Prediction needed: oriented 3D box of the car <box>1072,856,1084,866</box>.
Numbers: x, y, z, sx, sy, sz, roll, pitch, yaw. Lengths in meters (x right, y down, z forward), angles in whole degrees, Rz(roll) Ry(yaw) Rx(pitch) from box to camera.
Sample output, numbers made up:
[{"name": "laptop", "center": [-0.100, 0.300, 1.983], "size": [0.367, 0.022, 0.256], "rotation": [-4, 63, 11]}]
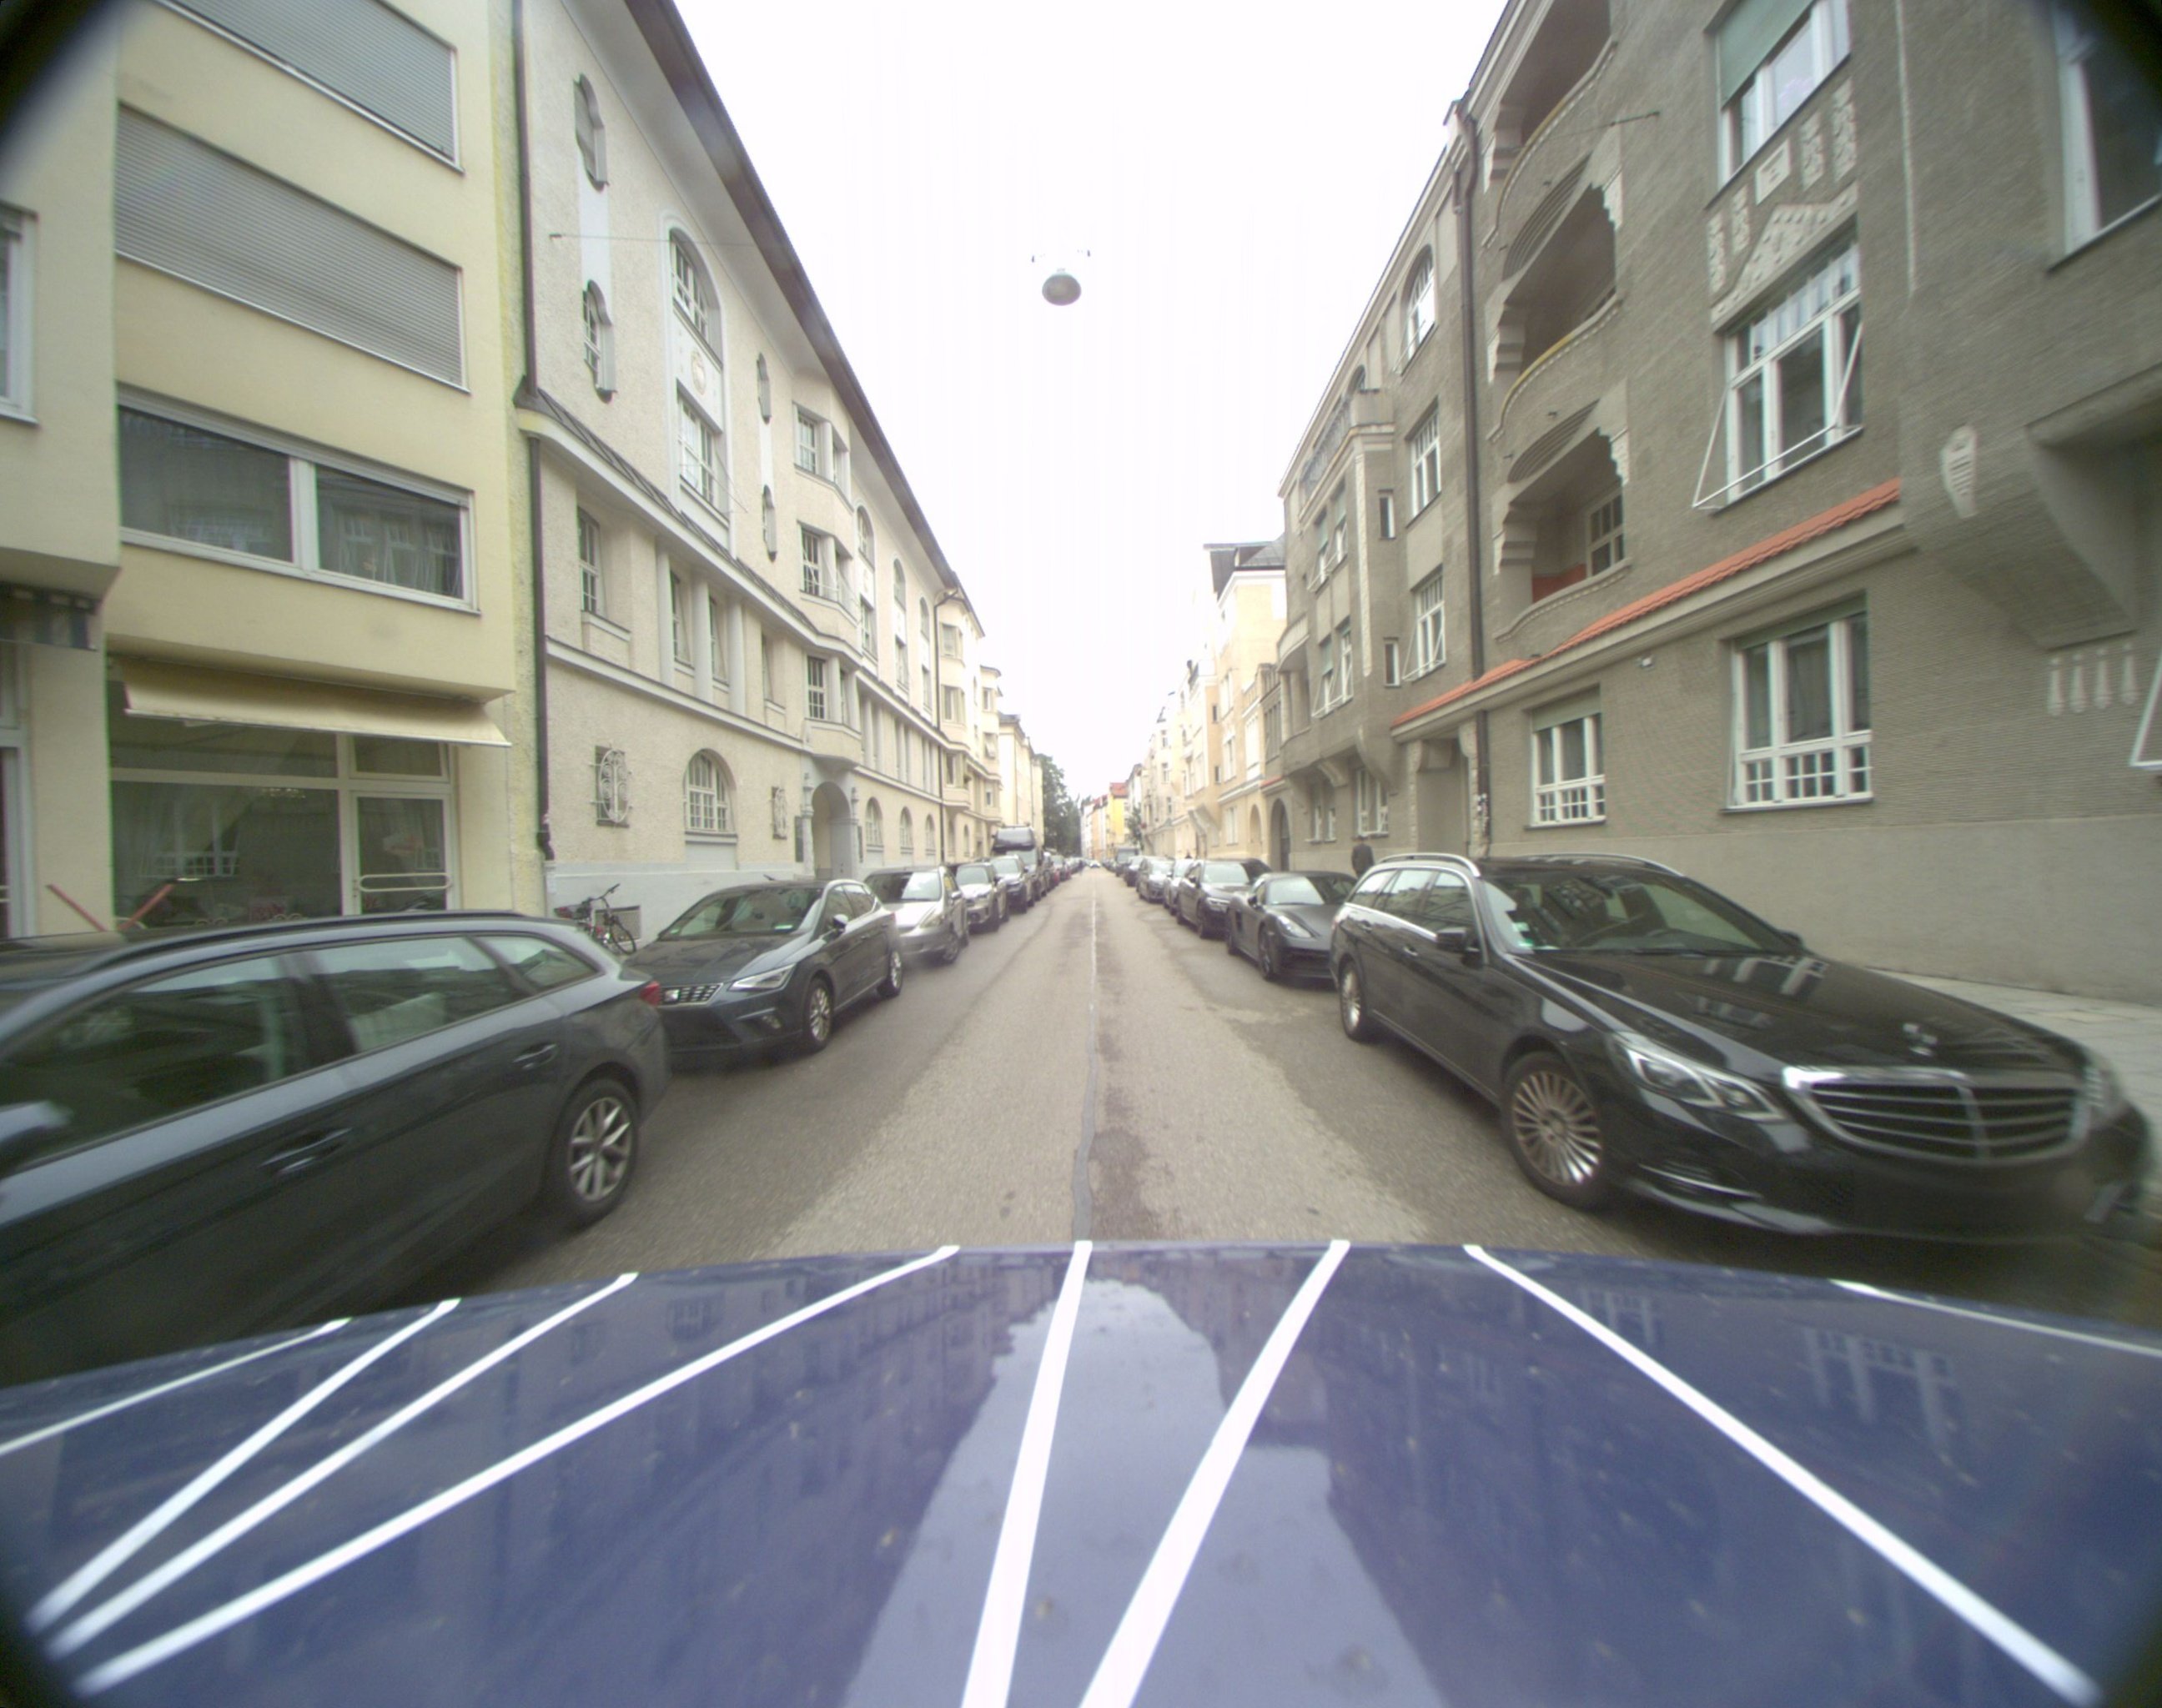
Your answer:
[{"name": "car", "center": [-0.391, 1.058, 114.131], "size": [1.683, 1.434, 3.645], "rotation": [-2, 0, 1]}]

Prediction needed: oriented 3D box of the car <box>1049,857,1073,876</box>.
[{"name": "car", "center": [-1.628, 1.012, 62.372], "size": [1.731, 1.458, 3.738], "rotation": [-2, 0, 1]}]

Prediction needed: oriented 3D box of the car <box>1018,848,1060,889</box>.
[{"name": "car", "center": [-2.208, 0.740, 40.764], "size": [1.800, 2.027, 4.071], "rotation": [-2, 0, 2]}]

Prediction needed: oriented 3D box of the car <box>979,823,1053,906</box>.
[{"name": "car", "center": [-2.525, 0.334, 31.116], "size": [2.260, 2.943, 6.131], "rotation": [-3, 1, 1]}]

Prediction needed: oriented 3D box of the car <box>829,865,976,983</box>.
[{"name": "car", "center": [-2.782, 1.018, 12.670], "size": [1.638, 1.528, 3.854], "rotation": [-3, 0, -3]}]

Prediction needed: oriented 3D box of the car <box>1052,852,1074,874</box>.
[{"name": "car", "center": [-1.571, 0.785, 67.683], "size": [1.683, 1.767, 3.457], "rotation": [-2, 0, 1]}]

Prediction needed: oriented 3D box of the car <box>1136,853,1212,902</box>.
[{"name": "car", "center": [3.096, 0.738, 26.328], "size": [1.842, 1.504, 4.607], "rotation": [-2, 0, -3]}]

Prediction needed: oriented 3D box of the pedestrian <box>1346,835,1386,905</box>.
[{"name": "pedestrian", "center": [7.591, 0.409, 20.280], "size": [0.718, 1.806, 0.730], "rotation": [-2, 1, 0]}]

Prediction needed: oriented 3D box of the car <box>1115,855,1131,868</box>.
[{"name": "car", "center": [4.687, 0.821, 85.495], "size": [1.683, 1.390, 3.705], "rotation": [-2, 0, 1]}]

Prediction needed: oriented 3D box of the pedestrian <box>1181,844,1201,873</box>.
[{"name": "pedestrian", "center": [6.654, 0.280, 45.987], "size": [0.995, 1.718, 0.939], "rotation": [-2, 1, 1]}]

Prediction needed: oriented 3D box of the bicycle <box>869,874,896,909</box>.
[{"name": "bicycle", "center": [-6.917, 1.284, 26.526], "size": [0.483, 1.144, 1.788], "rotation": [0, 0, -1]}]

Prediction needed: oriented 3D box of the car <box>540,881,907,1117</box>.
[{"name": "car", "center": [-2.978, 1.102, 7.323], "size": [1.638, 1.463, 3.855], "rotation": [-2, 0, 0]}]

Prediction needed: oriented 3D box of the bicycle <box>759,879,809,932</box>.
[{"name": "bicycle", "center": [-7.193, 1.212, 18.465], "size": [0.483, 1.144, 1.788], "rotation": [-3, 0, -1]}]

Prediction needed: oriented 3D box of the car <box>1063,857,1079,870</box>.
[{"name": "car", "center": [-1.111, 1.048, 88.128], "size": [1.683, 1.375, 3.645], "rotation": [-2, 0, 1]}]

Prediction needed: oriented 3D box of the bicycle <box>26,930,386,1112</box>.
[{"name": "bicycle", "center": [-6.850, 1.220, 6.061], "size": [0.751, 1.026, 1.803], "rotation": [0, 1, 37]}]

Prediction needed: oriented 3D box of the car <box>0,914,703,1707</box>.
[{"name": "car", "center": [-3.001, 1.112, 1.996], "size": [1.697, 1.463, 4.610], "rotation": [-3, 0, -1]}]

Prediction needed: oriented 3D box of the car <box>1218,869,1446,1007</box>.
[{"name": "car", "center": [3.004, 0.929, 10.039], "size": [1.759, 1.323, 4.097], "rotation": [-2, 0, 2]}]

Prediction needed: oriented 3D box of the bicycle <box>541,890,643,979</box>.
[{"name": "bicycle", "center": [-7.450, 1.189, 11.664], "size": [0.564, 1.186, 1.676], "rotation": [0, 0, -4]}]

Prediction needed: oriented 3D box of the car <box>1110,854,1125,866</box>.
[{"name": "car", "center": [4.884, 0.785, 101.383], "size": [1.683, 1.390, 3.705], "rotation": [-2, 0, 0]}]

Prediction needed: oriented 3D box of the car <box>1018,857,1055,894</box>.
[{"name": "car", "center": [-2.098, 0.976, 36.378], "size": [1.546, 1.616, 2.815], "rotation": [-2, 0, 0]}]

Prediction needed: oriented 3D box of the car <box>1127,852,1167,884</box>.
[{"name": "car", "center": [3.615, 0.747, 42.297], "size": [1.955, 1.649, 4.618], "rotation": [-1, 0, 2]}]

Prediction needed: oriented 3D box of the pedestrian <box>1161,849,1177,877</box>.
[{"name": "pedestrian", "center": [5.709, 0.604, 49.302], "size": [0.837, 1.779, 0.741], "rotation": [-2, 1, 1]}]

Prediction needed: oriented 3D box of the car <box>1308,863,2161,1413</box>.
[{"name": "car", "center": [2.886, 0.868, 4.561], "size": [1.759, 1.506, 4.708], "rotation": [-2, 0, 2]}]

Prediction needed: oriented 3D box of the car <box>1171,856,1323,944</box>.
[{"name": "car", "center": [3.156, 0.805, 15.536], "size": [1.999, 1.440, 4.778], "rotation": [-2, 0, 0]}]

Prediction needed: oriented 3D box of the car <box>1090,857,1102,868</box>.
[{"name": "car", "center": [2.711, 1.570, 138.386], "size": [1.999, 1.788, 3.999], "rotation": [-3, 0, -3]}]

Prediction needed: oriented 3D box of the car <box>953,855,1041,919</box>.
[{"name": "car", "center": [-2.508, 0.936, 23.783], "size": [1.998, 1.679, 4.674], "rotation": [-3, 0, 2]}]

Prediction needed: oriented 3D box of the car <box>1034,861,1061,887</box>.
[{"name": "car", "center": [-2.047, 1.203, 47.121], "size": [1.496, 1.463, 3.503], "rotation": [-3, 0, 0]}]

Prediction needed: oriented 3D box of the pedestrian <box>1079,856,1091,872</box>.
[{"name": "pedestrian", "center": [0.369, 1.011, 73.891], "size": [1.014, 1.514, 0.715], "rotation": [-2, 1, 7]}]

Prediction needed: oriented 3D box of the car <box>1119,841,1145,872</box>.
[{"name": "car", "center": [4.360, 0.197, 65.999], "size": [2.104, 2.606, 5.679], "rotation": [-1, 0, 2]}]

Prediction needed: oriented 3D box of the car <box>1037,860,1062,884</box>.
[{"name": "car", "center": [-2.094, 1.198, 51.197], "size": [1.496, 1.463, 3.675], "rotation": [-3, 0, 0]}]

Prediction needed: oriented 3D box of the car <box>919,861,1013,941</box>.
[{"name": "car", "center": [-2.600, 1.001, 17.976], "size": [1.638, 1.582, 3.968], "rotation": [-3, 0, -1]}]

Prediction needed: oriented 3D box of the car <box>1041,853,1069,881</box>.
[{"name": "car", "center": [-1.912, 0.955, 57.181], "size": [1.880, 1.924, 4.663], "rotation": [-3, 0, 0]}]

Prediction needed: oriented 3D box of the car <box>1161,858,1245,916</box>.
[{"name": "car", "center": [3.291, 0.847, 21.245], "size": [1.810, 1.423, 4.440], "rotation": [-1, 0, 3]}]

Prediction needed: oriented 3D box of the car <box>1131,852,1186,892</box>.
[{"name": "car", "center": [3.249, 0.724, 32.661], "size": [1.807, 1.563, 3.813], "rotation": [-3, 0, -2]}]

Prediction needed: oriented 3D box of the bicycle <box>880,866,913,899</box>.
[{"name": "bicycle", "center": [-6.921, 1.039, 28.513], "size": [0.482, 1.144, 1.789], "rotation": [-2, 0, 10]}]
